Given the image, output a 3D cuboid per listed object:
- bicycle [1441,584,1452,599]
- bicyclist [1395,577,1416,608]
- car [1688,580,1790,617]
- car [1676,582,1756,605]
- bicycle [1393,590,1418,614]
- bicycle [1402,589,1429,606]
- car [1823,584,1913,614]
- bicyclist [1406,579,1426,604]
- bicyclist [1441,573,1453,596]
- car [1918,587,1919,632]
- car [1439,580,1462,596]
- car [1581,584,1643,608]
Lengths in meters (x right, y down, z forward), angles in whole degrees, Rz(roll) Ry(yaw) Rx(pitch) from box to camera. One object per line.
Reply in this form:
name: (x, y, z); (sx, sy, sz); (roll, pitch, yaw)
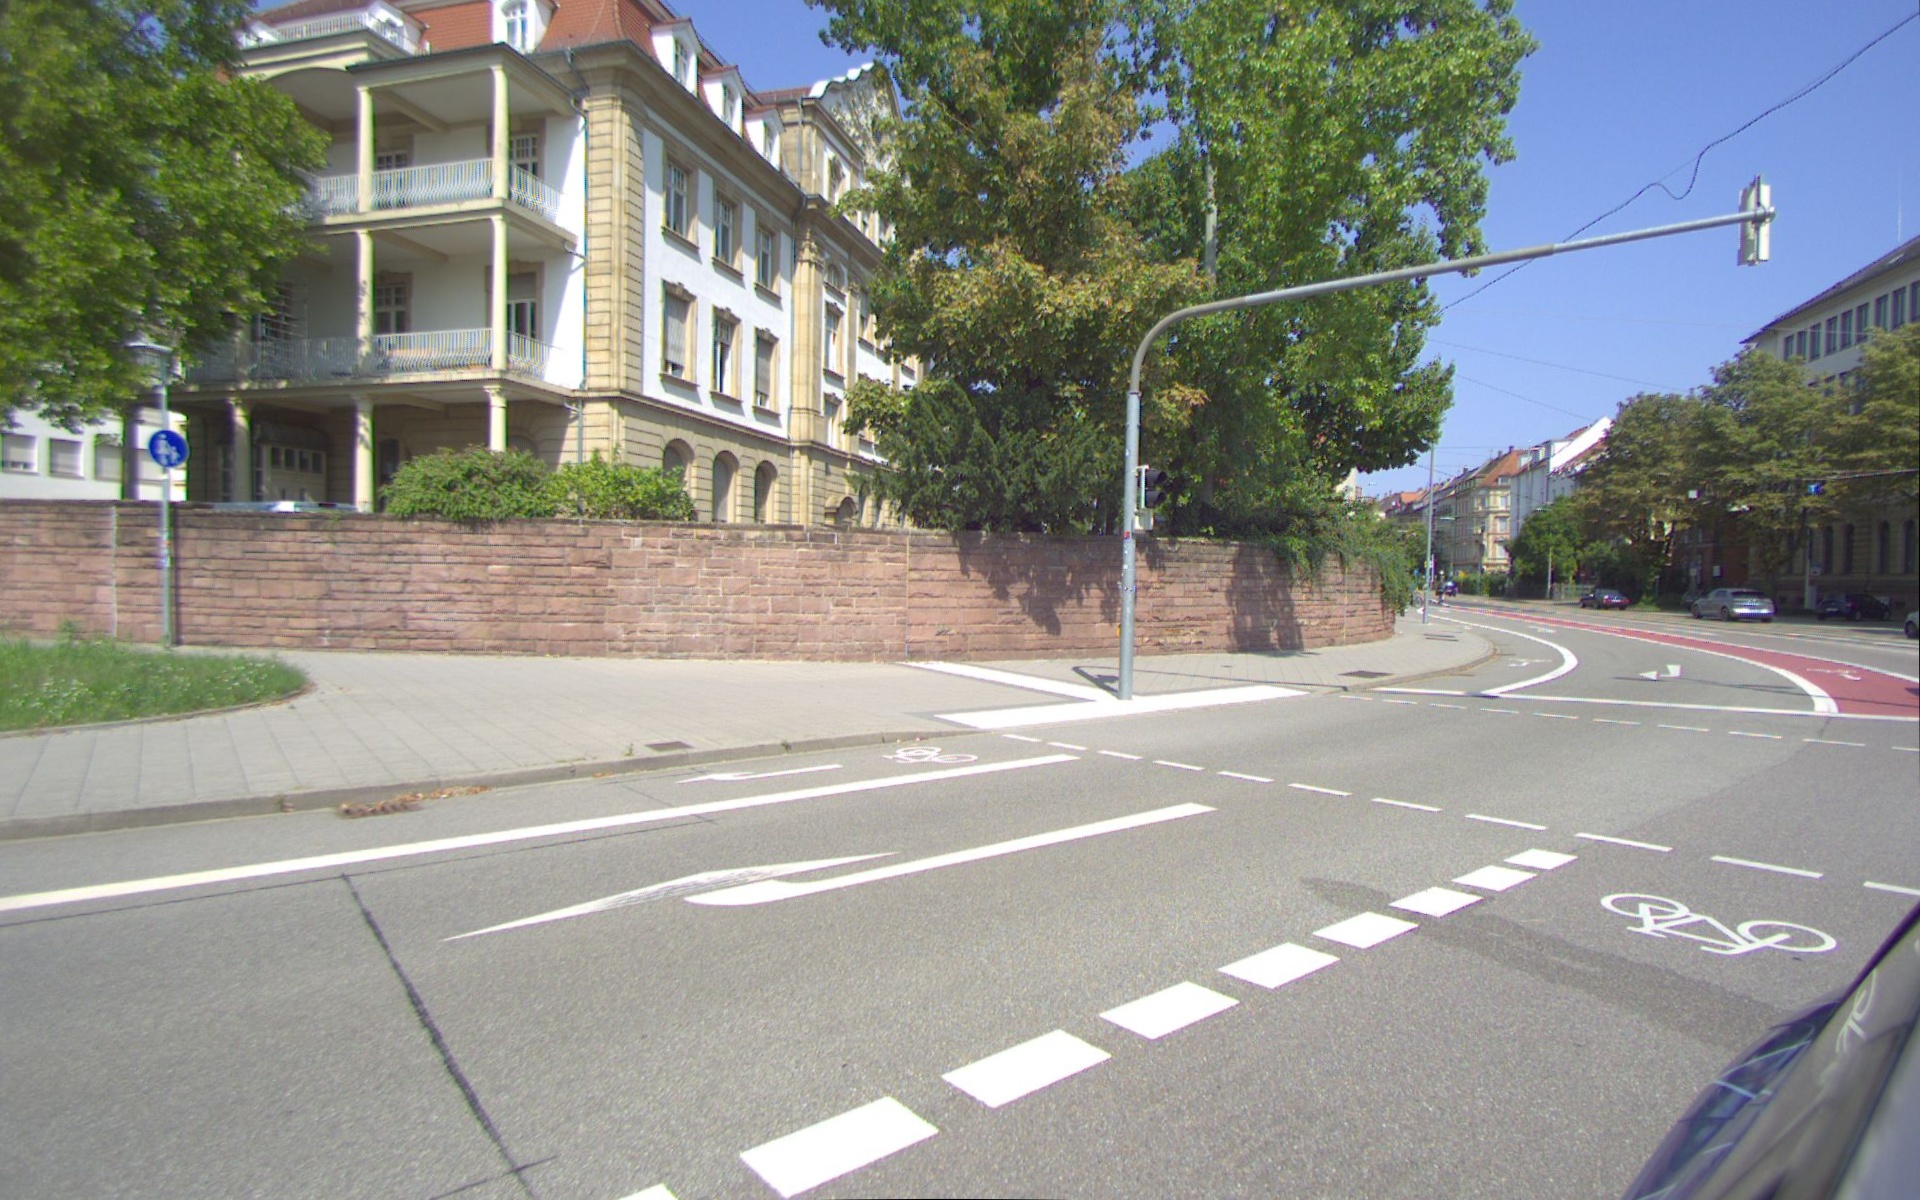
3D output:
bicycle: (34.284, -0.603, 71.324); (0.610, 1.012, 1.694); (2, 2, 28)
bicyclist: (21.146, -0.372, 48.077); (0.737, 1.429, 0.957); (1, 1, 16)
car: (37.616, -0.110, 49.023); (1.747, 1.630, 4.665); (1, 2, 7)
car: (50.763, -0.421, 68.001); (4.337, 1.480, 1.825); (0, 1, -11)
bicycle: (21.184, 0.082, 48.188); (0.731, 1.062, 2.223); (1, 1, 15)
bicycle: (29.281, -0.181, 65.071); (1.675, 1.012, 0.617); (2, 1, -24)
car: (47.134, -0.053, 52.548); (4.076, 1.514, 1.825); (1, 1, -21)
bicyclist: (29.292, -0.559, 65.062); (0.885, 1.558, 0.630); (3, 2, -24)
bicyclist: (34.332, -1.098, 71.329); (0.623, 1.618, 0.982); (2, 1, 29)
car: (33.032, 0.395, 32.220); (1.631, 1.549, 4.310); (2, 2, 12)
car: (54.897, -1.341, 113.413); (1.673, 1.675, 3.564); (1, 1, 15)
car: (42.388, -0.282, 65.904); (1.666, 1.395, 4.605); (1, 2, 10)
